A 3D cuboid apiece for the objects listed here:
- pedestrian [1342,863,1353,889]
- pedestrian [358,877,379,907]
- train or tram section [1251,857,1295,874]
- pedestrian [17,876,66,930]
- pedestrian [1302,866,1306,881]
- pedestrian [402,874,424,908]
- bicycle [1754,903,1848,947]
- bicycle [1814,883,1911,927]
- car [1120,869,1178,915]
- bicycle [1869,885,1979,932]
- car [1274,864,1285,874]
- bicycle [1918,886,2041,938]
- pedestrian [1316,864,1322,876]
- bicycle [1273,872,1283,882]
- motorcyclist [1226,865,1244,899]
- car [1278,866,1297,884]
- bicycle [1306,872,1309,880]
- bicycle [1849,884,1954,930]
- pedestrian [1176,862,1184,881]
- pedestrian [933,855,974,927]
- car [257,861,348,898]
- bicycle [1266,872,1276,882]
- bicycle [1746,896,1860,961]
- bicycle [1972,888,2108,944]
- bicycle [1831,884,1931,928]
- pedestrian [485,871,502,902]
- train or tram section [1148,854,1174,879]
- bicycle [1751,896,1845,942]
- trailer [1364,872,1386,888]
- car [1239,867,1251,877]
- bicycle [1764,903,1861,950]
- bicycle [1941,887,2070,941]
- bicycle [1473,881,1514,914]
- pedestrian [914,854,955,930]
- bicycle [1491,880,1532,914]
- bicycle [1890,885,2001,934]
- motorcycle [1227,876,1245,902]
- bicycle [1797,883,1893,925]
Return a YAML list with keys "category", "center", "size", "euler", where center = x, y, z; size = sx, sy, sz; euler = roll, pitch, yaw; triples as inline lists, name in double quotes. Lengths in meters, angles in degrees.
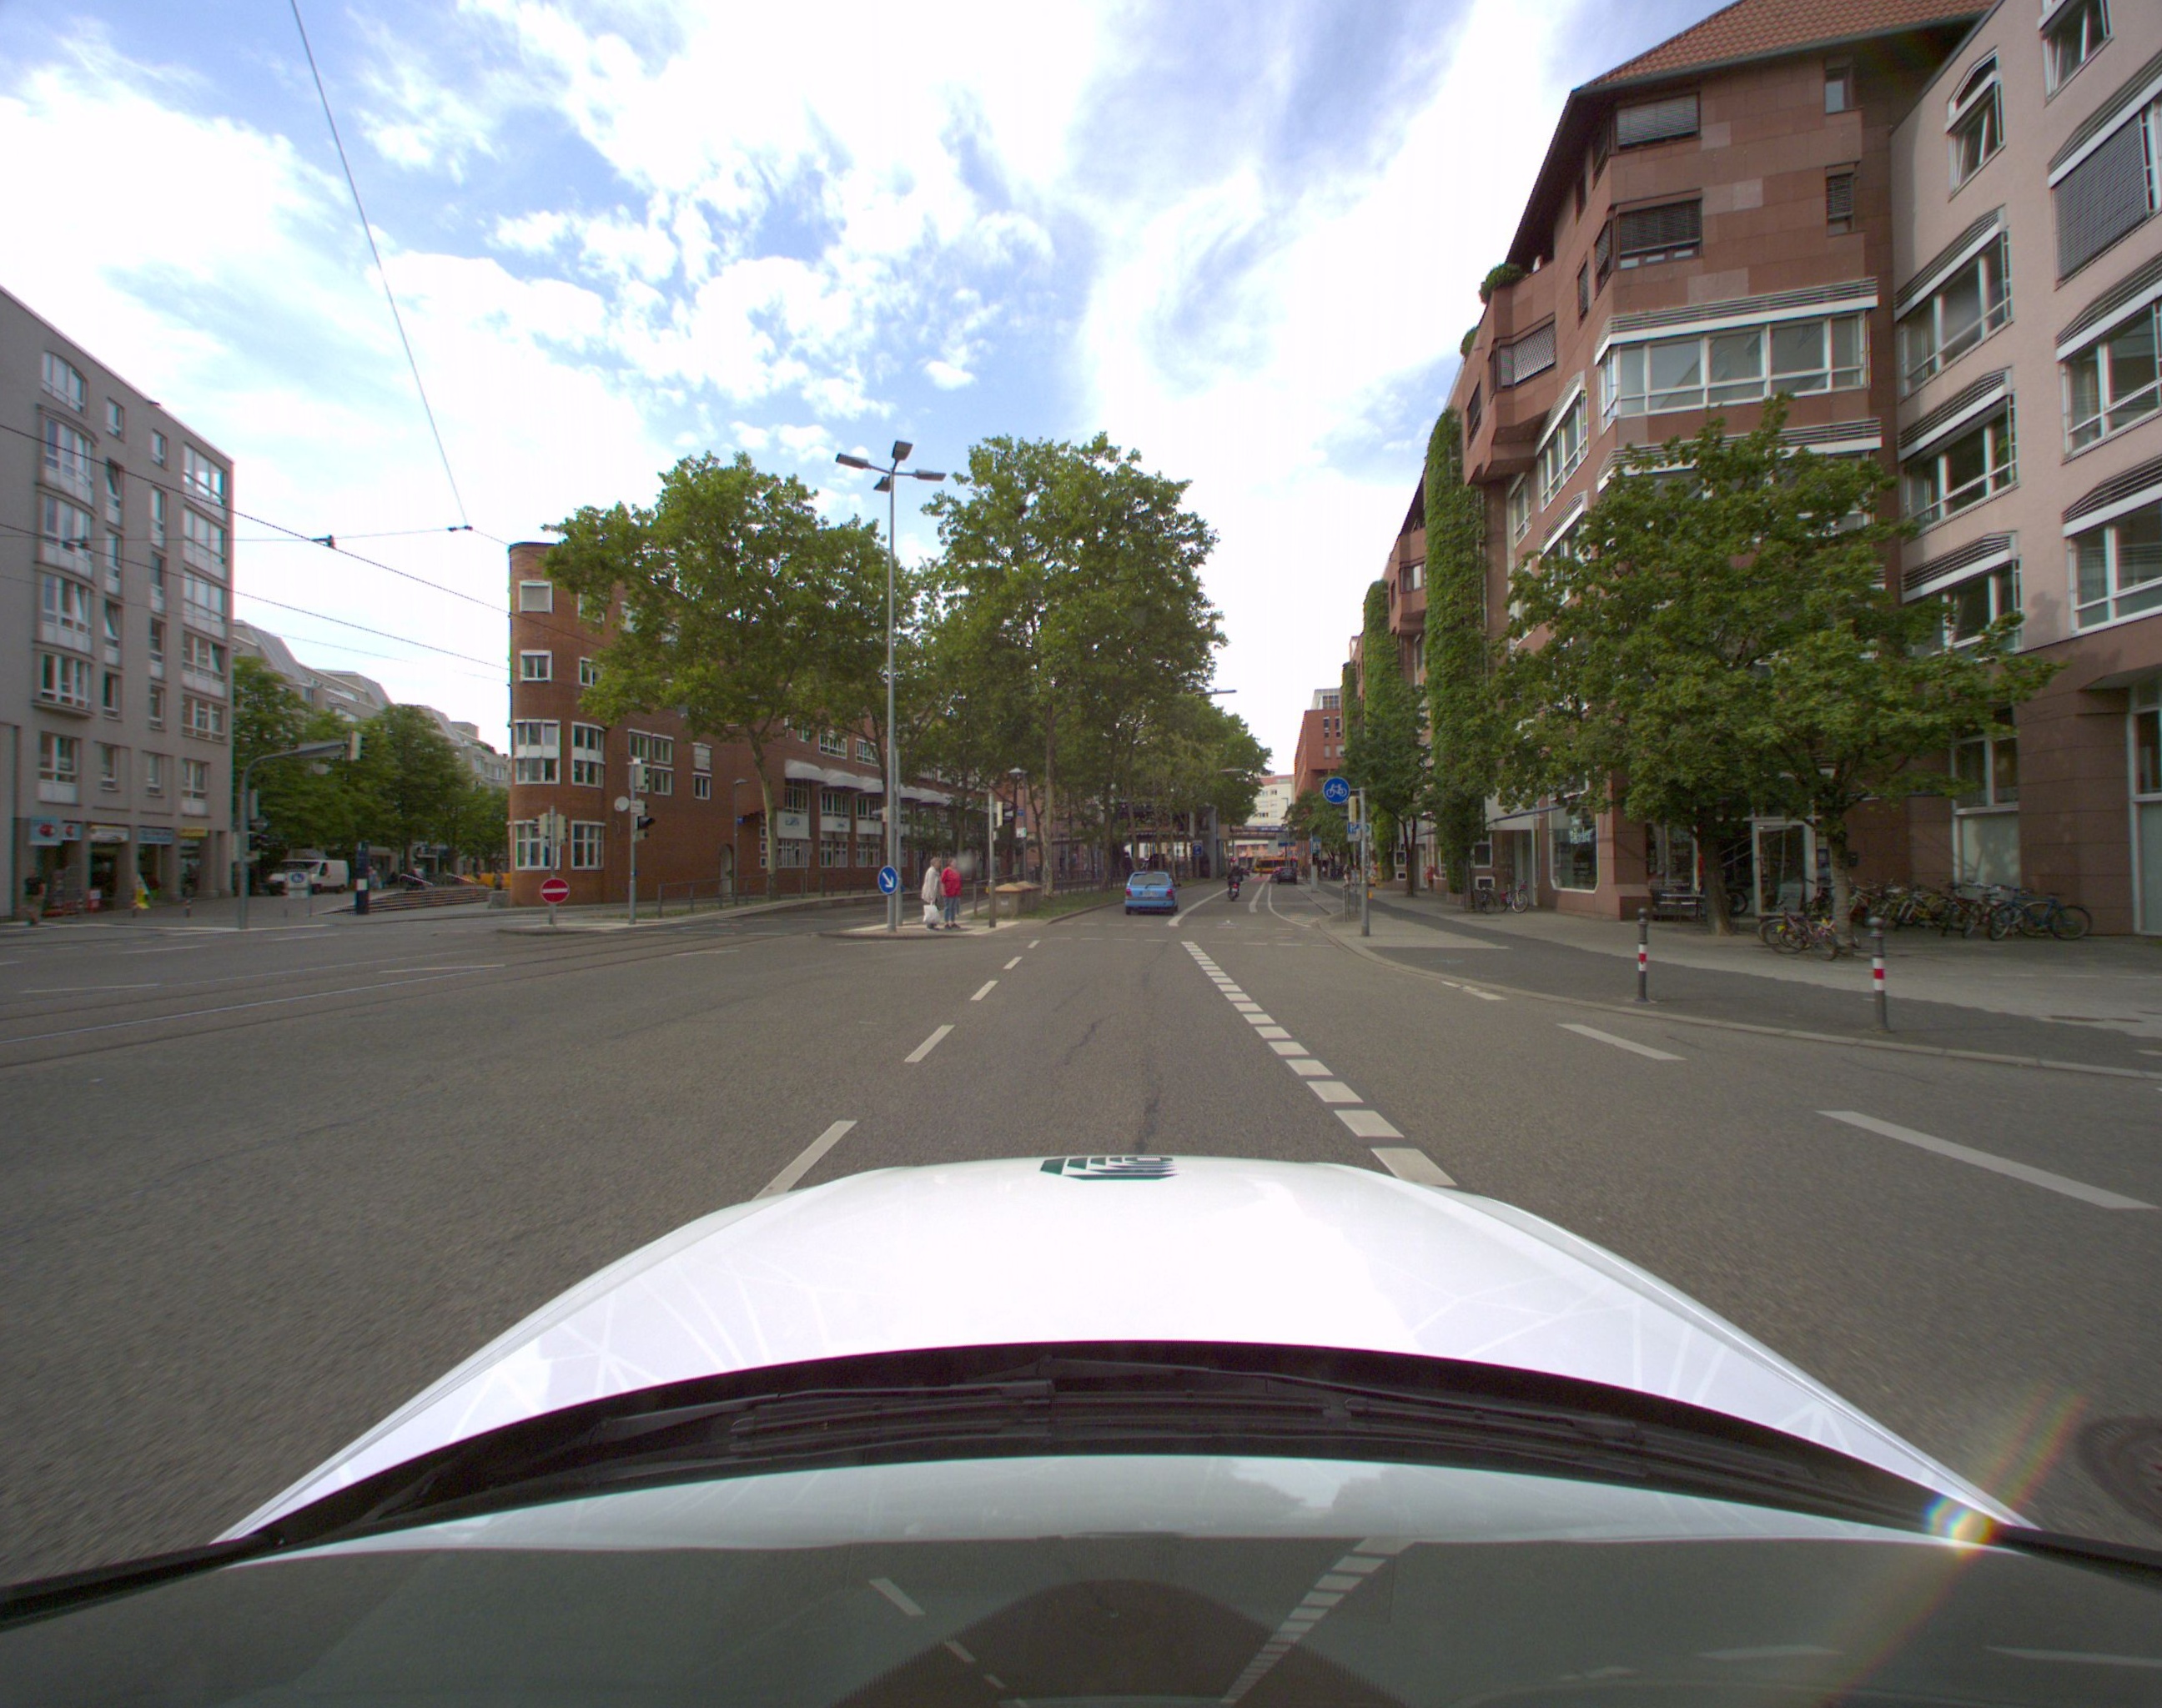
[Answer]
- category: "pedestrian"
  center: [18.605, 1.528, 56.809]
  size: [0.642, 1.859, 0.785]
  euler: [-1, -1, 12]
- category: "pedestrian"
  center: [-41.214, 2.192, 47.118]
  size: [0.695, 1.671, 0.825]
  euler: [0, -1, -24]
- category: "train or tram section"
  center: [38.931, 2.357, 165.383]
  size: [8.815, 3.254, 2.381]
  euler: [-1, -1, -19]
- category: "pedestrian"
  center: [-33.034, 1.536, 25.901]
  size: [0.676, 1.680, 0.747]
  euler: [0, -1, -25]
- category: "pedestrian"
  center: [27.307, 2.396, 99.744]
  size: [0.506, 1.759, 0.541]
  euler: [-1, -2, 13]
- category: "pedestrian"
  center: [-39.529, 2.200, 48.186]
  size: [0.793, 1.964, 0.799]
  euler: [0, -1, -22]
- category: "bicycle"
  center: [14.111, 1.383, 15.995]
  size: [1.287, 0.814, 0.447]
  euler: [-1, -1, 24]
- category: "bicycle"
  center: [18.623, 1.211, 19.424]
  size: [1.719, 1.008, 0.431]
  euler: [-1, -1, 8]
- category: "car"
  center: [2.342, 1.223, 27.228]
  size: [1.631, 1.386, 3.853]
  euler: [0, -1, 9]
- category: "bicycle"
  center: [18.482, 1.187, 17.881]
  size: [1.719, 1.008, 0.480]
  euler: [-1, -1, 8]
- category: "car"
  center: [32.358, 2.479, 132.657]
  size: [1.687, 1.601, 4.015]
  euler: [-1, -1, 14]
- category: "bicycle"
  center: [18.277, 1.176, 16.593]
  size: [1.719, 1.008, 0.547]
  euler: [-1, -1, 8]
- category: "pedestrian"
  center: [32.234, 2.190, 110.140]
  size: [0.665, 1.561, 0.730]
  euler: [-1, -1, 9]
- category: "bicycle"
  center: [21.295, 2.461, 88.198]
  size: [0.562, 1.008, 2.007]
  euler: [-1, -1, -2]
- category: "motorcyclist"
  center: [7.025, 1.269, 37.093]
  size: [0.755, 1.519, 1.020]
  euler: [-1, -1, 9]
- category: "car"
  center: [19.377, 1.960, 76.406]
  size: [1.687, 1.601, 4.015]
  euler: [-1, -1, 14]
- category: "bicycle"
  center: [27.791, 2.692, 99.826]
  size: [0.353, 0.939, 1.213]
  euler: [-1, -1, 14]
- category: "bicycle"
  center: [18.529, 1.194, 18.408]
  size: [1.719, 1.008, 0.472]
  euler: [-1, -1, 8]
- category: "pedestrian"
  center: [9.641, 1.687, 79.327]
  size: [0.723, 1.859, 0.873]
  euler: [-1, -1, 14]
- category: "pedestrian"
  center: [-3.099, 0.894, 19.886]
  size: [0.547, 1.718, 0.896]
  euler: [-1, -1, 29]
- category: "car"
  center: [-43.343, 1.379, 45.476]
  size: [2.002, 1.937, 4.908]
  euler: [0, -1, -23]
- category: "bicycle"
  center: [20.628, 2.489, 88.329]
  size: [0.562, 1.008, 2.007]
  euler: [-1, -1, -2]
- category: "bicycle"
  center: [12.703, 1.282, 14.391]
  size: [0.613, 1.008, 1.738]
  euler: [-1, -1, 7]
- category: "bicycle"
  center: [18.104, 1.167, 15.402]
  size: [1.719, 1.008, 0.547]
  euler: [-1, -1, 8]
- category: "bicycle"
  center: [18.563, 1.203, 18.924]
  size: [1.719, 1.008, 0.438]
  euler: [-1, -1, 8]
- category: "pedestrian"
  center: [-34.064, 1.877, 47.231]
  size: [0.695, 1.817, 0.650]
  euler: [0, -1, -25]
- category: "train or tram section"
  center: [11.152, 1.715, 113.214]
  size: [2.372, 3.254, 8.848]
  euler: [-1, -1, 13]
- category: "bicycle"
  center: [14.397, 1.311, 16.386]
  size: [1.287, 0.868, 0.456]
  euler: [-4, -2, 24]
- category: "trailer"
  center: [20.840, 1.823, 57.681]
  size: [0.982, 1.059, 1.619]
  euler: [-1, -1, 37]
- category: "car"
  center: [27.996, 3.060, 139.012]
  size: [1.873, 1.624, 4.015]
  euler: [-1, -1, 14]
- category: "bicycle"
  center: [13.854, 1.368, 15.456]
  size: [1.288, 0.838, 0.456]
  euler: [-1, -1, 19]
- category: "bicycle"
  center: [18.149, 1.174, 16.011]
  size: [1.719, 1.008, 0.547]
  euler: [-1, -1, 8]
- category: "bicycle"
  center: [13.145, 1.372, 26.015]
  size: [0.613, 1.008, 1.739]
  euler: [-1, -1, 8]
- category: "pedestrian"
  center: [-3.407, 0.872, 18.971]
  size: [0.548, 1.718, 0.895]
  euler: [-1, -1, 19]
- category: "bicycle"
  center: [13.850, 1.371, 26.238]
  size: [0.613, 1.008, 1.739]
  euler: [-1, -1, 8]
- category: "bicycle"
  center: [18.437, 1.180, 17.392]
  size: [1.719, 1.008, 0.425]
  euler: [-1, -1, 8]
- category: "motorcycle"
  center: [7.020, 1.591, 37.019]
  size: [0.763, 1.107, 2.214]
  euler: [-1, -1, 10]
- category: "bicycle"
  center: [18.662, 1.214, 19.915]
  size: [1.719, 1.008, 0.473]
  euler: [-1, -1, 8]
